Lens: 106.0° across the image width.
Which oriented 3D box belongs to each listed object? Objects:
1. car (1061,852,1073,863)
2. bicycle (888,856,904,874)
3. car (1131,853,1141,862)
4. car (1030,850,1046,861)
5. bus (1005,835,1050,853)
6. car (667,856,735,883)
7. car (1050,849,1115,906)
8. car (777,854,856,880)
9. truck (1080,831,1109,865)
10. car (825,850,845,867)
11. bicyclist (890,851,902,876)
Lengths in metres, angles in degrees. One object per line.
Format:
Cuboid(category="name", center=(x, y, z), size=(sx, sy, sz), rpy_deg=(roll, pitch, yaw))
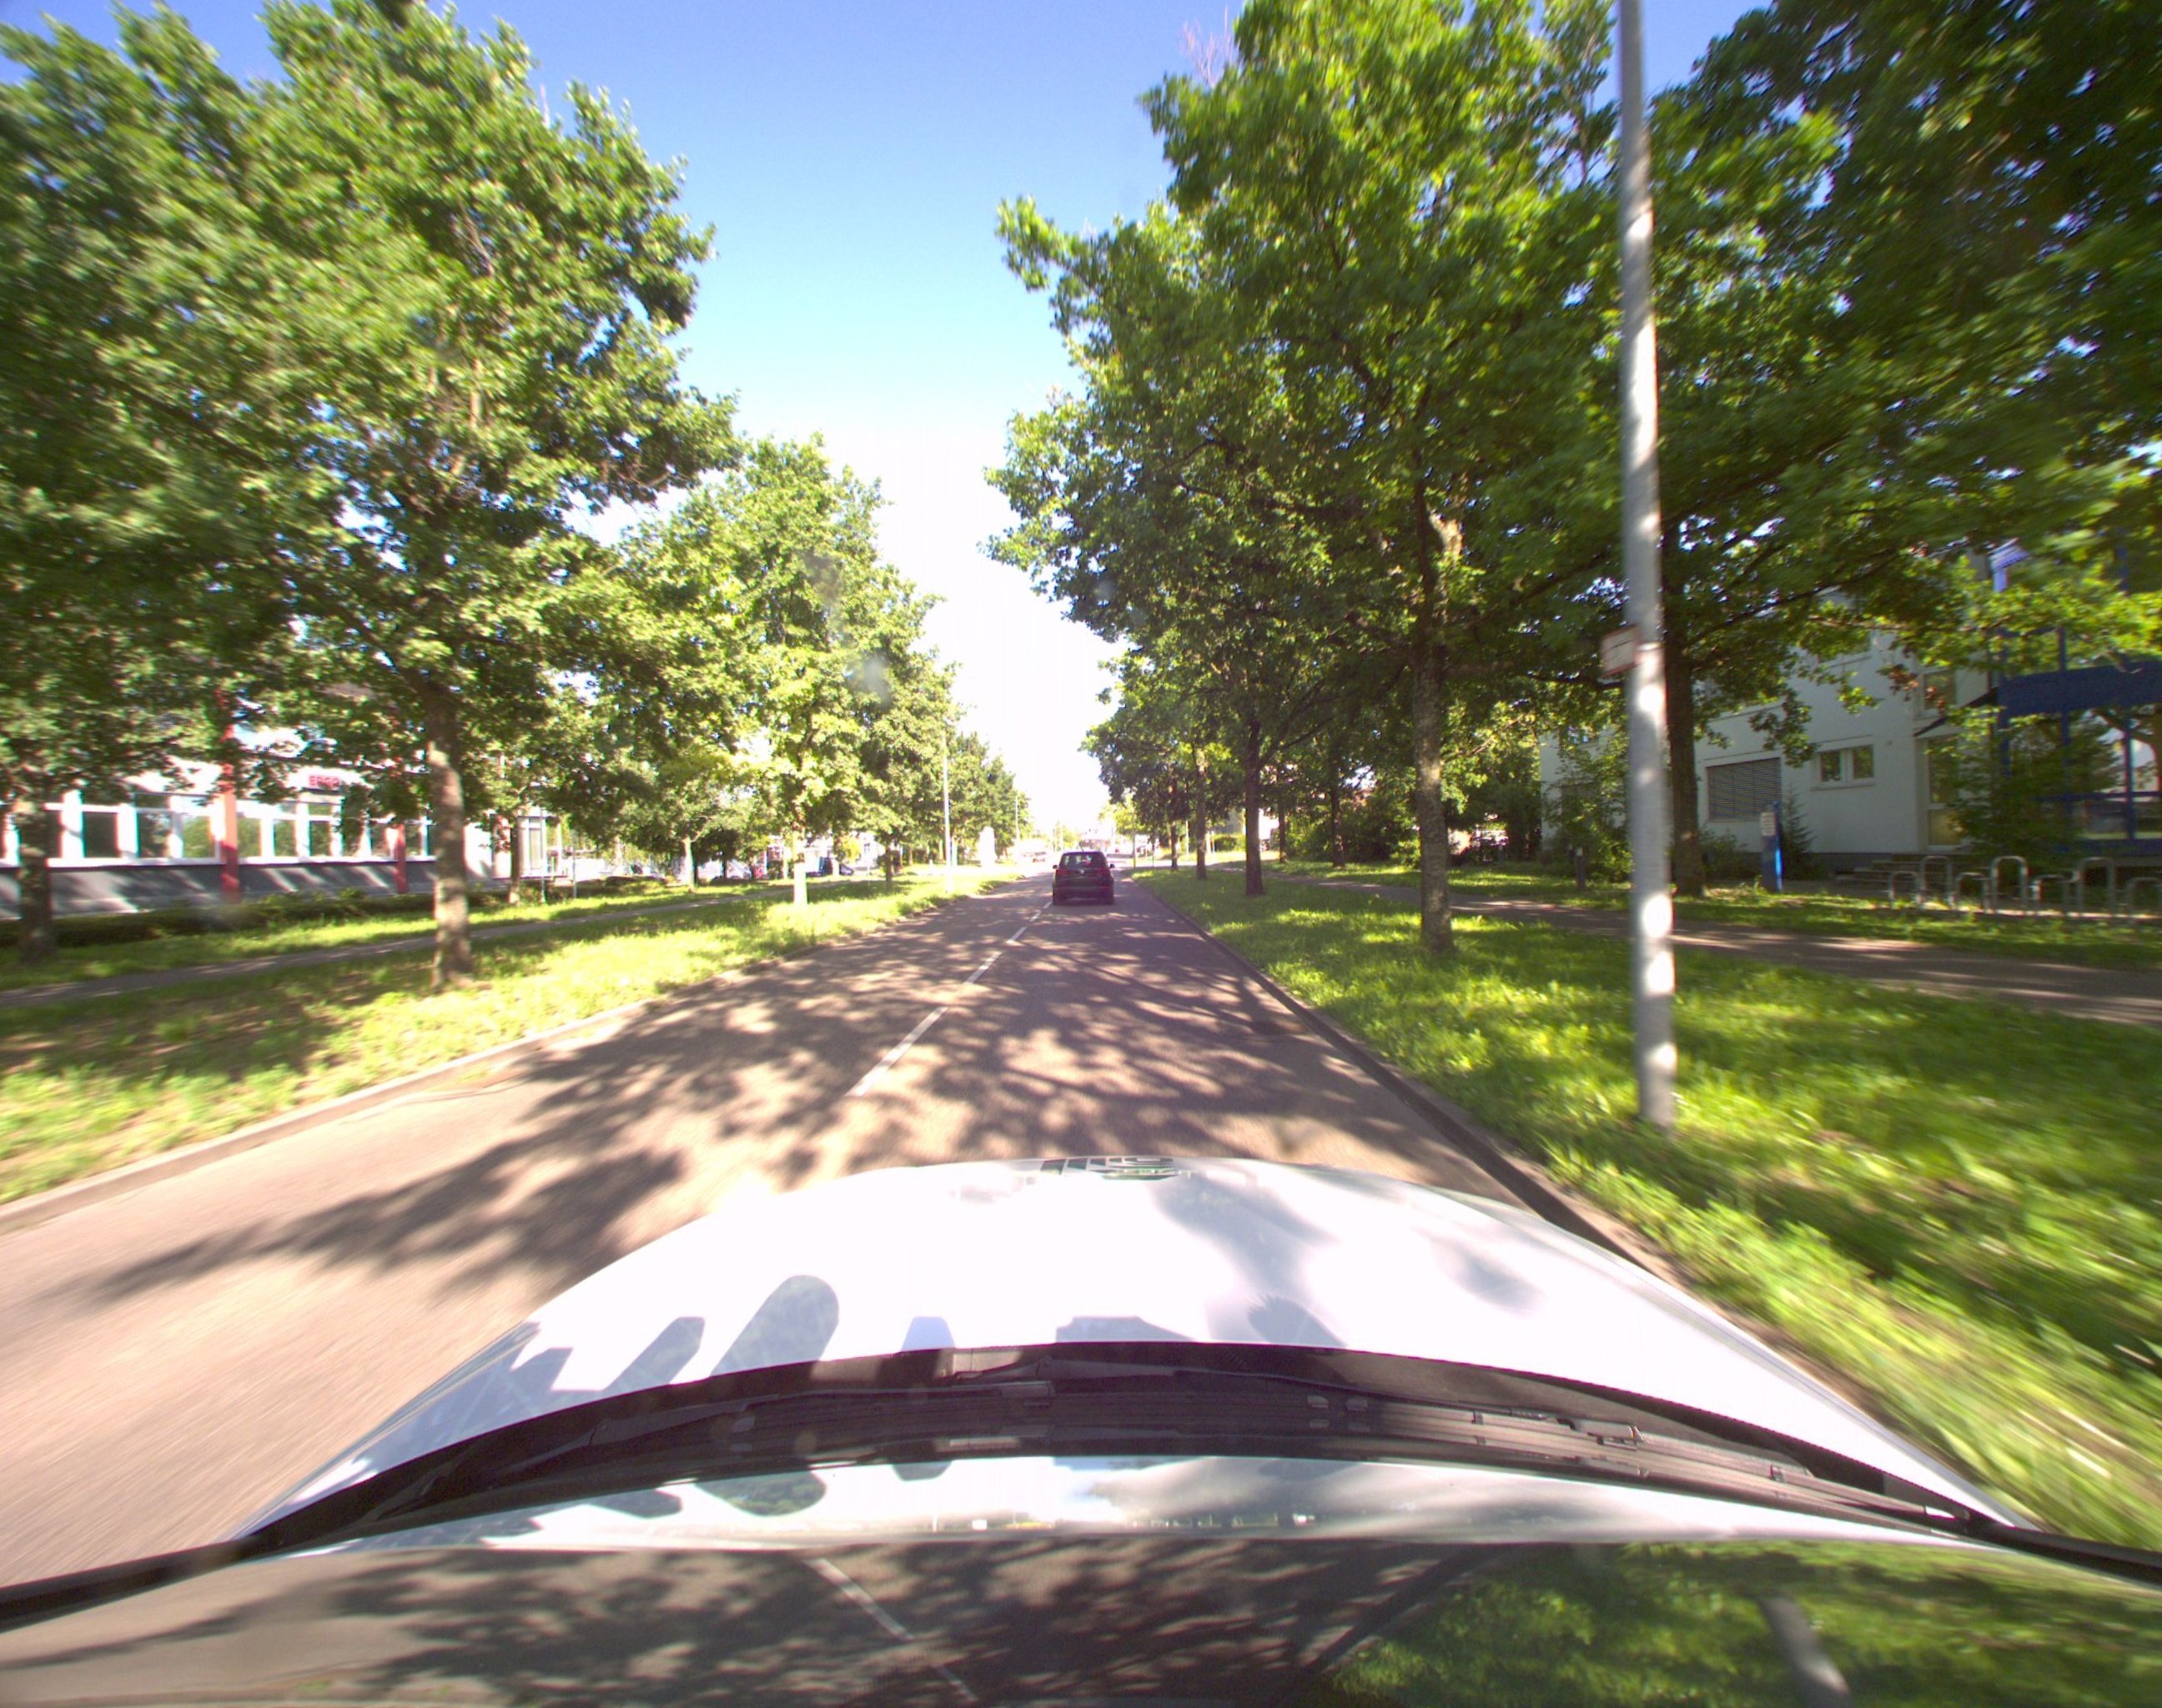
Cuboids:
Cuboid(category="car", center=(-2.556, 0.623, 146.725), size=(1.989, 2.013, 3.995), rpy_deg=(0, 0, -4))
Cuboid(category="bicycle", center=(-13.973, 0.842, 61.521), size=(0.714, 1.321, 1.992), rpy_deg=(0, 0, 1))
Cuboid(category="car", center=(8.640, 0.512, 127.577), size=(1.446, 1.406, 2.857), rpy_deg=(0, 0, 2))
Cuboid(category="car", center=(-6.212, 0.178, 118.787), size=(1.986, 1.455, 4.001), rpy_deg=(-2, 0, 1))
Cuboid(category="bus", center=(-11.257, -2.077, 170.486), size=(9.097, 3.778, 3.378), rpy_deg=(0, 0, -8))
Cuboid(category="car", center=(-24.346, 0.975, 52.282), size=(3.341, 1.642, 2.004), rpy_deg=(0, 0, 7))
Cuboid(category="car", center=(0.132, 0.670, 25.570), size=(1.774, 1.633, 4.004), rpy_deg=(0, 0, 4))
Cuboid(category="car", center=(-21.321, 1.003, 65.942), size=(5.788, 2.013, 1.994), rpy_deg=(0, 0, -9))
Cuboid(category="truck", center=(1.432, -0.600, 84.298), size=(2.501, 3.243, 8.161), rpy_deg=(-2, 0, 4))
Cuboid(category="car", center=(-35.953, 0.641, 119.118), size=(1.990, 2.236, 3.994), rpy_deg=(-2, 0, -4))
Cuboid(category="bicyclist", center=(-13.982, 0.708, 61.676), size=(0.684, 1.831, 0.934), rpy_deg=(0, 0, 1))
